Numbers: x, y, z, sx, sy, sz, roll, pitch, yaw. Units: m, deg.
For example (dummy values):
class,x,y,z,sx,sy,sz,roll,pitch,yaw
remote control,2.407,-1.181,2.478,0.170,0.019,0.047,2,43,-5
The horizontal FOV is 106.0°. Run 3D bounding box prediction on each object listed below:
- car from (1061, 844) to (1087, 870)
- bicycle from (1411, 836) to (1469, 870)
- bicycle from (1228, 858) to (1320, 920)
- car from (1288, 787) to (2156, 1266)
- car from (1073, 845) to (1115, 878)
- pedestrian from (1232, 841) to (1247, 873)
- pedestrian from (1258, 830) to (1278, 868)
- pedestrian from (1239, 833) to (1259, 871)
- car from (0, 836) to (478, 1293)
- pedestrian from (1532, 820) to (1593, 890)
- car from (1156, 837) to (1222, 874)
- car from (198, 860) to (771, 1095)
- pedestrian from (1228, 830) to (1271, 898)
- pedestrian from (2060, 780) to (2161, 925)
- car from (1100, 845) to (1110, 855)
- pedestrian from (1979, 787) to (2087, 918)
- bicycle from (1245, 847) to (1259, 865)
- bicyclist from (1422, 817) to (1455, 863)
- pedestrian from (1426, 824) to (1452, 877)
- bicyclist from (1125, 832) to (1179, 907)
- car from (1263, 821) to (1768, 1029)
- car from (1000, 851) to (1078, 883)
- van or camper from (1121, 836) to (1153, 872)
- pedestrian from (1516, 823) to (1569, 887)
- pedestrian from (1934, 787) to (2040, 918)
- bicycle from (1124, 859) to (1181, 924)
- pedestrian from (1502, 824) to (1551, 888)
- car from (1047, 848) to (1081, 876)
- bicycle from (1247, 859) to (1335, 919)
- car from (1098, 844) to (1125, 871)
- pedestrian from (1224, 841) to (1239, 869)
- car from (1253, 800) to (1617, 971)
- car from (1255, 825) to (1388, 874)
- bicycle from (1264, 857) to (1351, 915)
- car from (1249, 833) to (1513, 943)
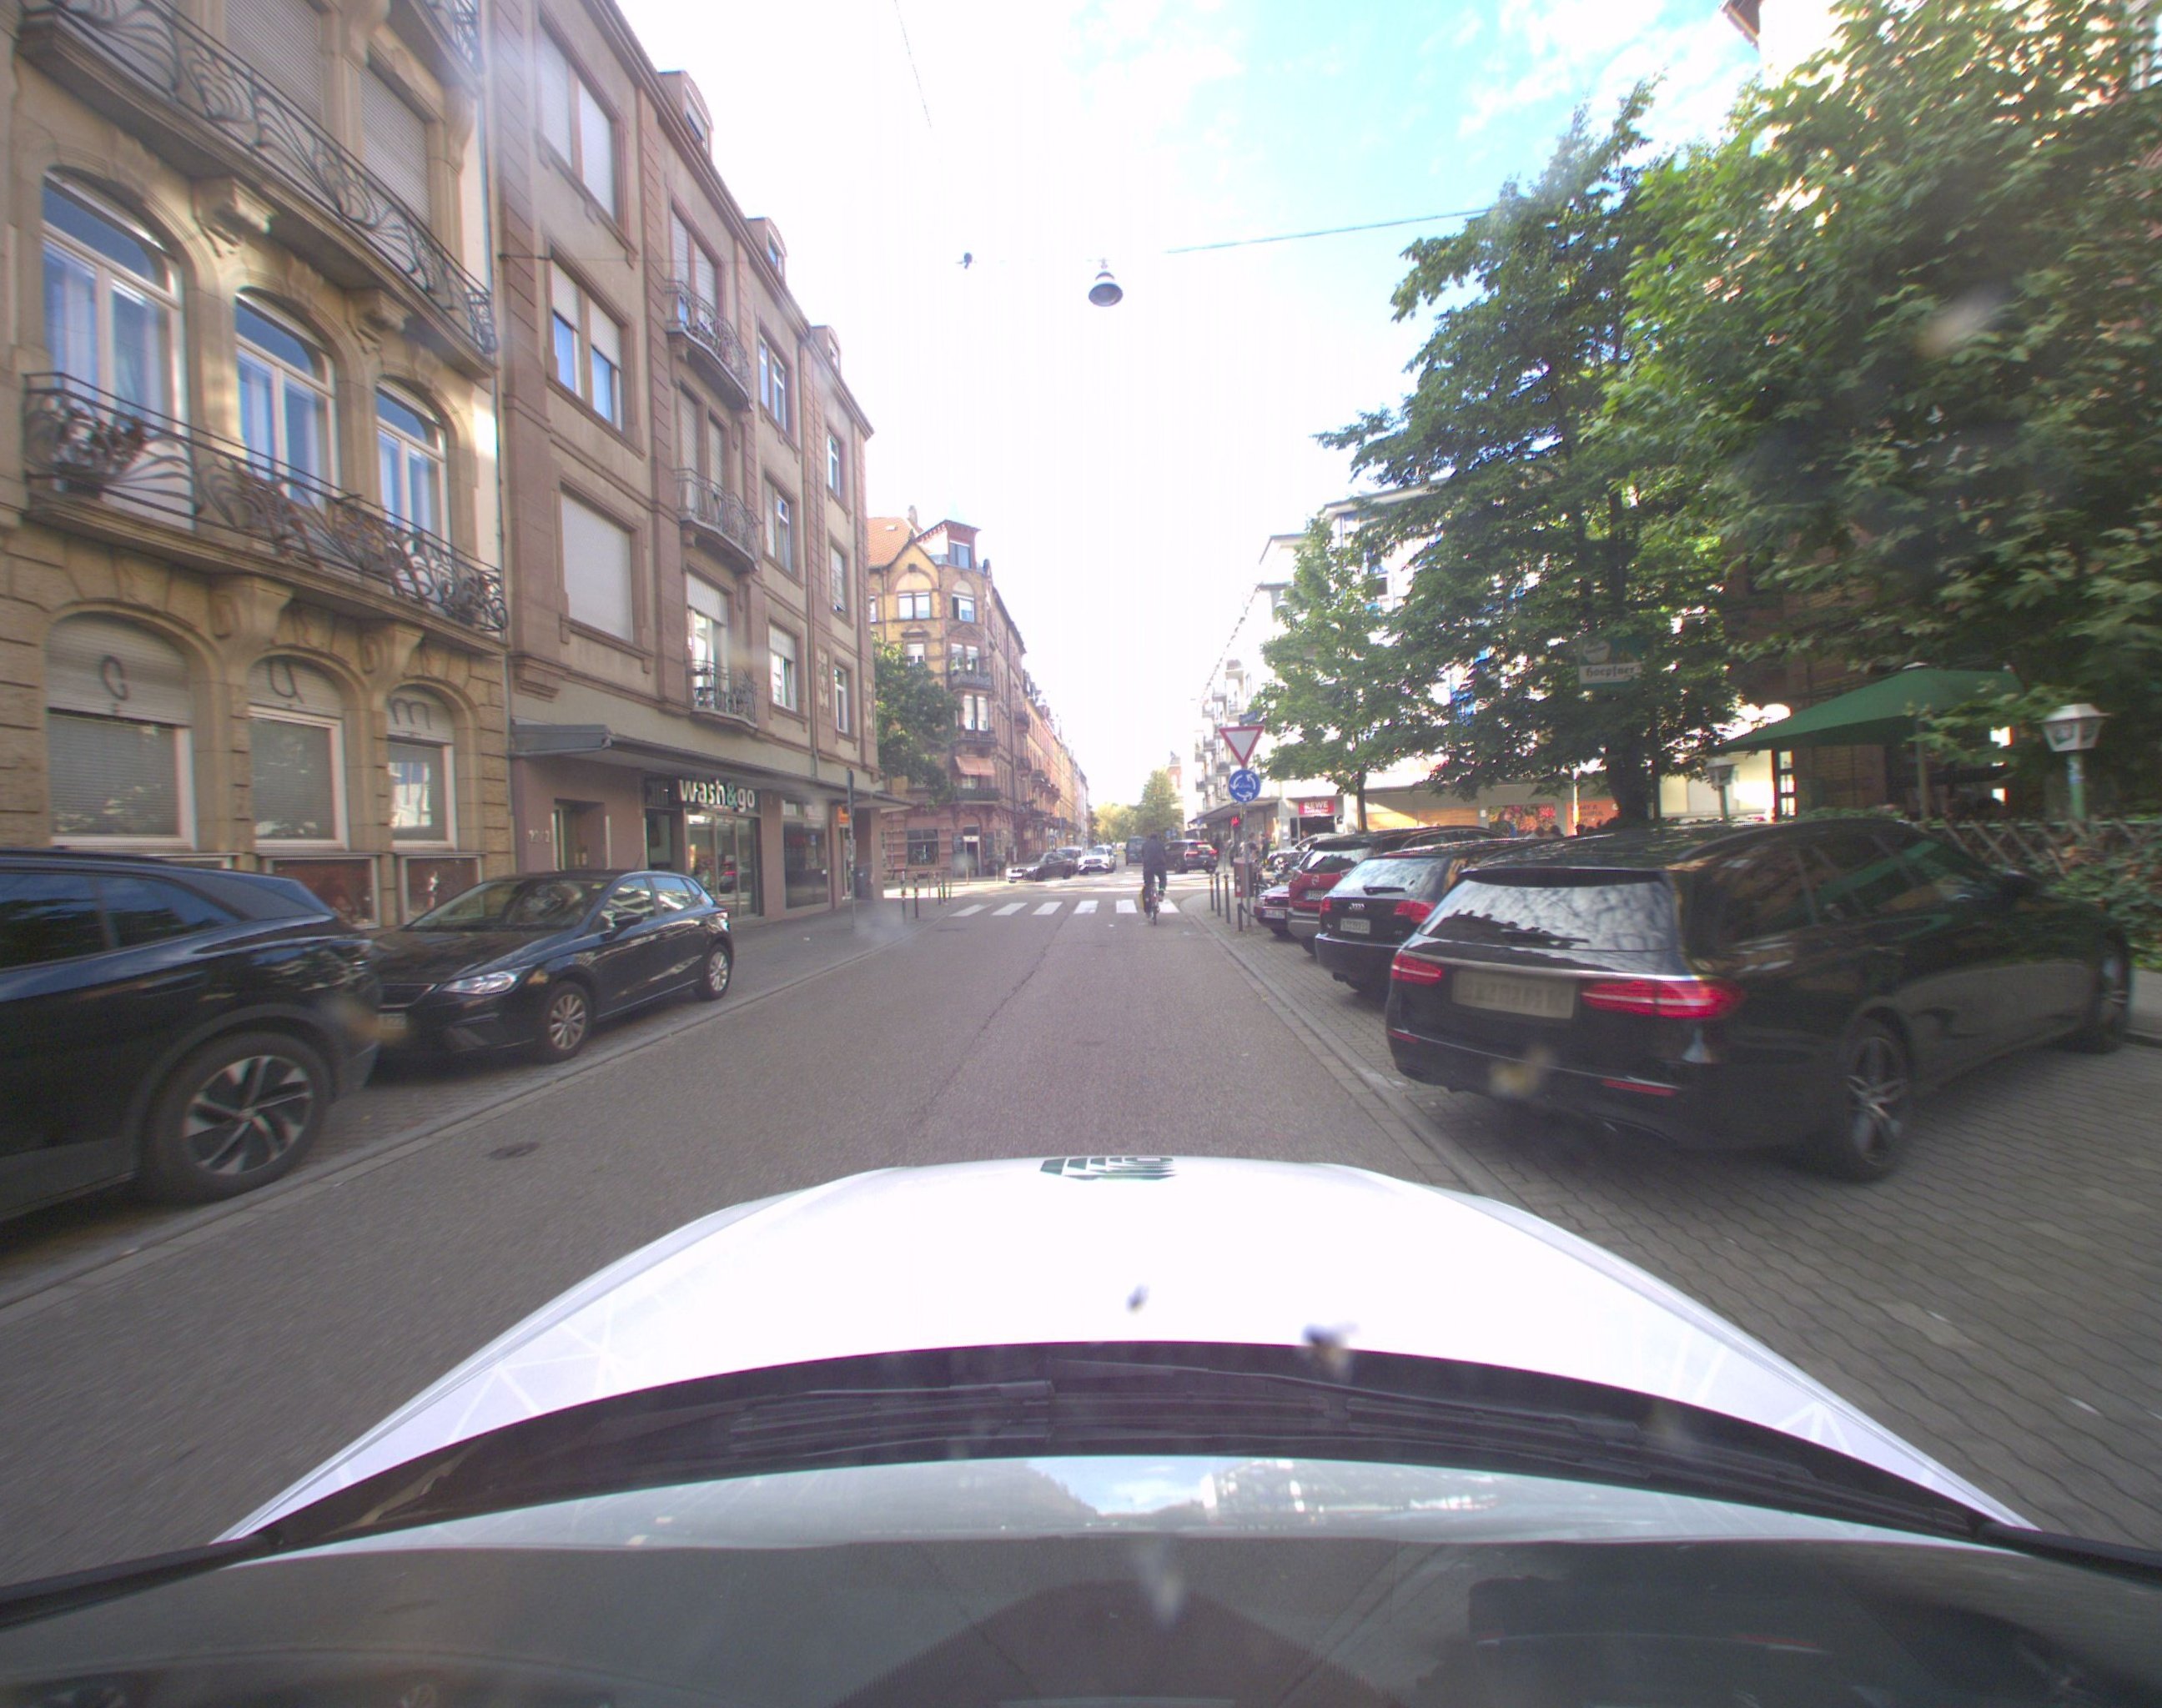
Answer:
class,x,y,z,sx,sy,sz,roll,pitch,yaw
car,-0.557,0.219,68.077,1.986,2.013,4.001,-3,0,1
bicycle,13.557,-0.038,30.819,1.951,1.199,0.716,-3,0,22
bicycle,3.593,0.652,15.352,0.551,1.040,1.841,-6,0,-26
car,3.802,0.515,4.748,4.777,1.456,2.039,-5,2,-25
car,0.846,0.412,49.999,1.932,1.721,4.860,-4,2,7
pedestrian,8.620,0.141,44.275,0.735,1.712,0.736,-3,0,14
pedestrian,9.329,-0.231,40.705,0.864,1.851,0.614,-3,0,8
pedestrian,8.453,-0.096,40.893,0.864,1.851,0.614,-3,0,8
car,-4.789,0.788,2.653,1.783,1.628,4.851,-3,0,3
pedestrian,10.040,0.017,17.008,0.795,1.406,0.702,-3,0,-1
car,5.246,0.064,40.084,1.995,1.618,3.984,-3,0,-12
car,-4.780,0.843,7.536,1.986,1.420,4.247,-3,0,2
pedestrian,4.616,0.274,22.254,0.774,1.779,0.798,-3,0,41
pedestrian,11.746,-0.020,9.204,0.626,1.570,0.570,-3,0,-1
car,5.115,-0.828,175.935,1.985,2.013,4.003,-3,0,2
pedestrian,11.903,-0.020,10.193,0.626,1.570,0.570,-3,0,-1
bicycle,10.303,0.118,49.051,0.362,1.016,1.429,-3,0,-5
bicyclist,13.516,-0.520,30.827,1.005,1.668,0.948,-3,0,18
pedestrian,12.174,-0.129,27.689,0.624,1.739,0.779,-3,0,15
bicyclist,1.435,0.307,16.450,0.926,1.484,0.750,-1,0,16
car,4.209,0.516,7.926,4.418,1.457,1.928,-3,0,-22
car,-2.019,0.619,40.125,1.733,1.436,4.238,-2,-1,30
van or camper,4.959,-0.032,72.517,2.522,3.037,4.459,-3,0,1
pedestrian,10.023,0.019,17.691,0.754,1.342,0.596,-3,0,-1
pedestrian,11.313,-0.023,10.187,0.626,1.570,0.570,-3,0,-1
bicycle,1.485,0.719,16.481,0.660,1.178,2.508,-1,0,16
pedestrian,9.994,0.041,18.278,0.754,1.392,0.549,-3,0,-2
car,-1.108,0.511,56.163,1.774,1.724,4.453,-1,2,6
bicycle,3.995,0.661,15.661,0.462,1.040,1.841,-6,0,-26
car,2.290,0.221,60.032,1.786,1.790,4.739,-4,0,3
pedestrian,8.740,0.056,47.301,0.740,1.629,0.815,-3,0,14
car,4.641,0.309,10.664,4.361,1.645,1.807,-5,1,-23
car,9.814,-0.170,33.506,2.054,1.724,4.787,-5,2,-42
bicycle,4.352,0.619,15.825,0.348,1.040,2.002,-6,0,-24
car,4.905,0.481,13.290,3.951,1.457,1.755,-3,0,-25
